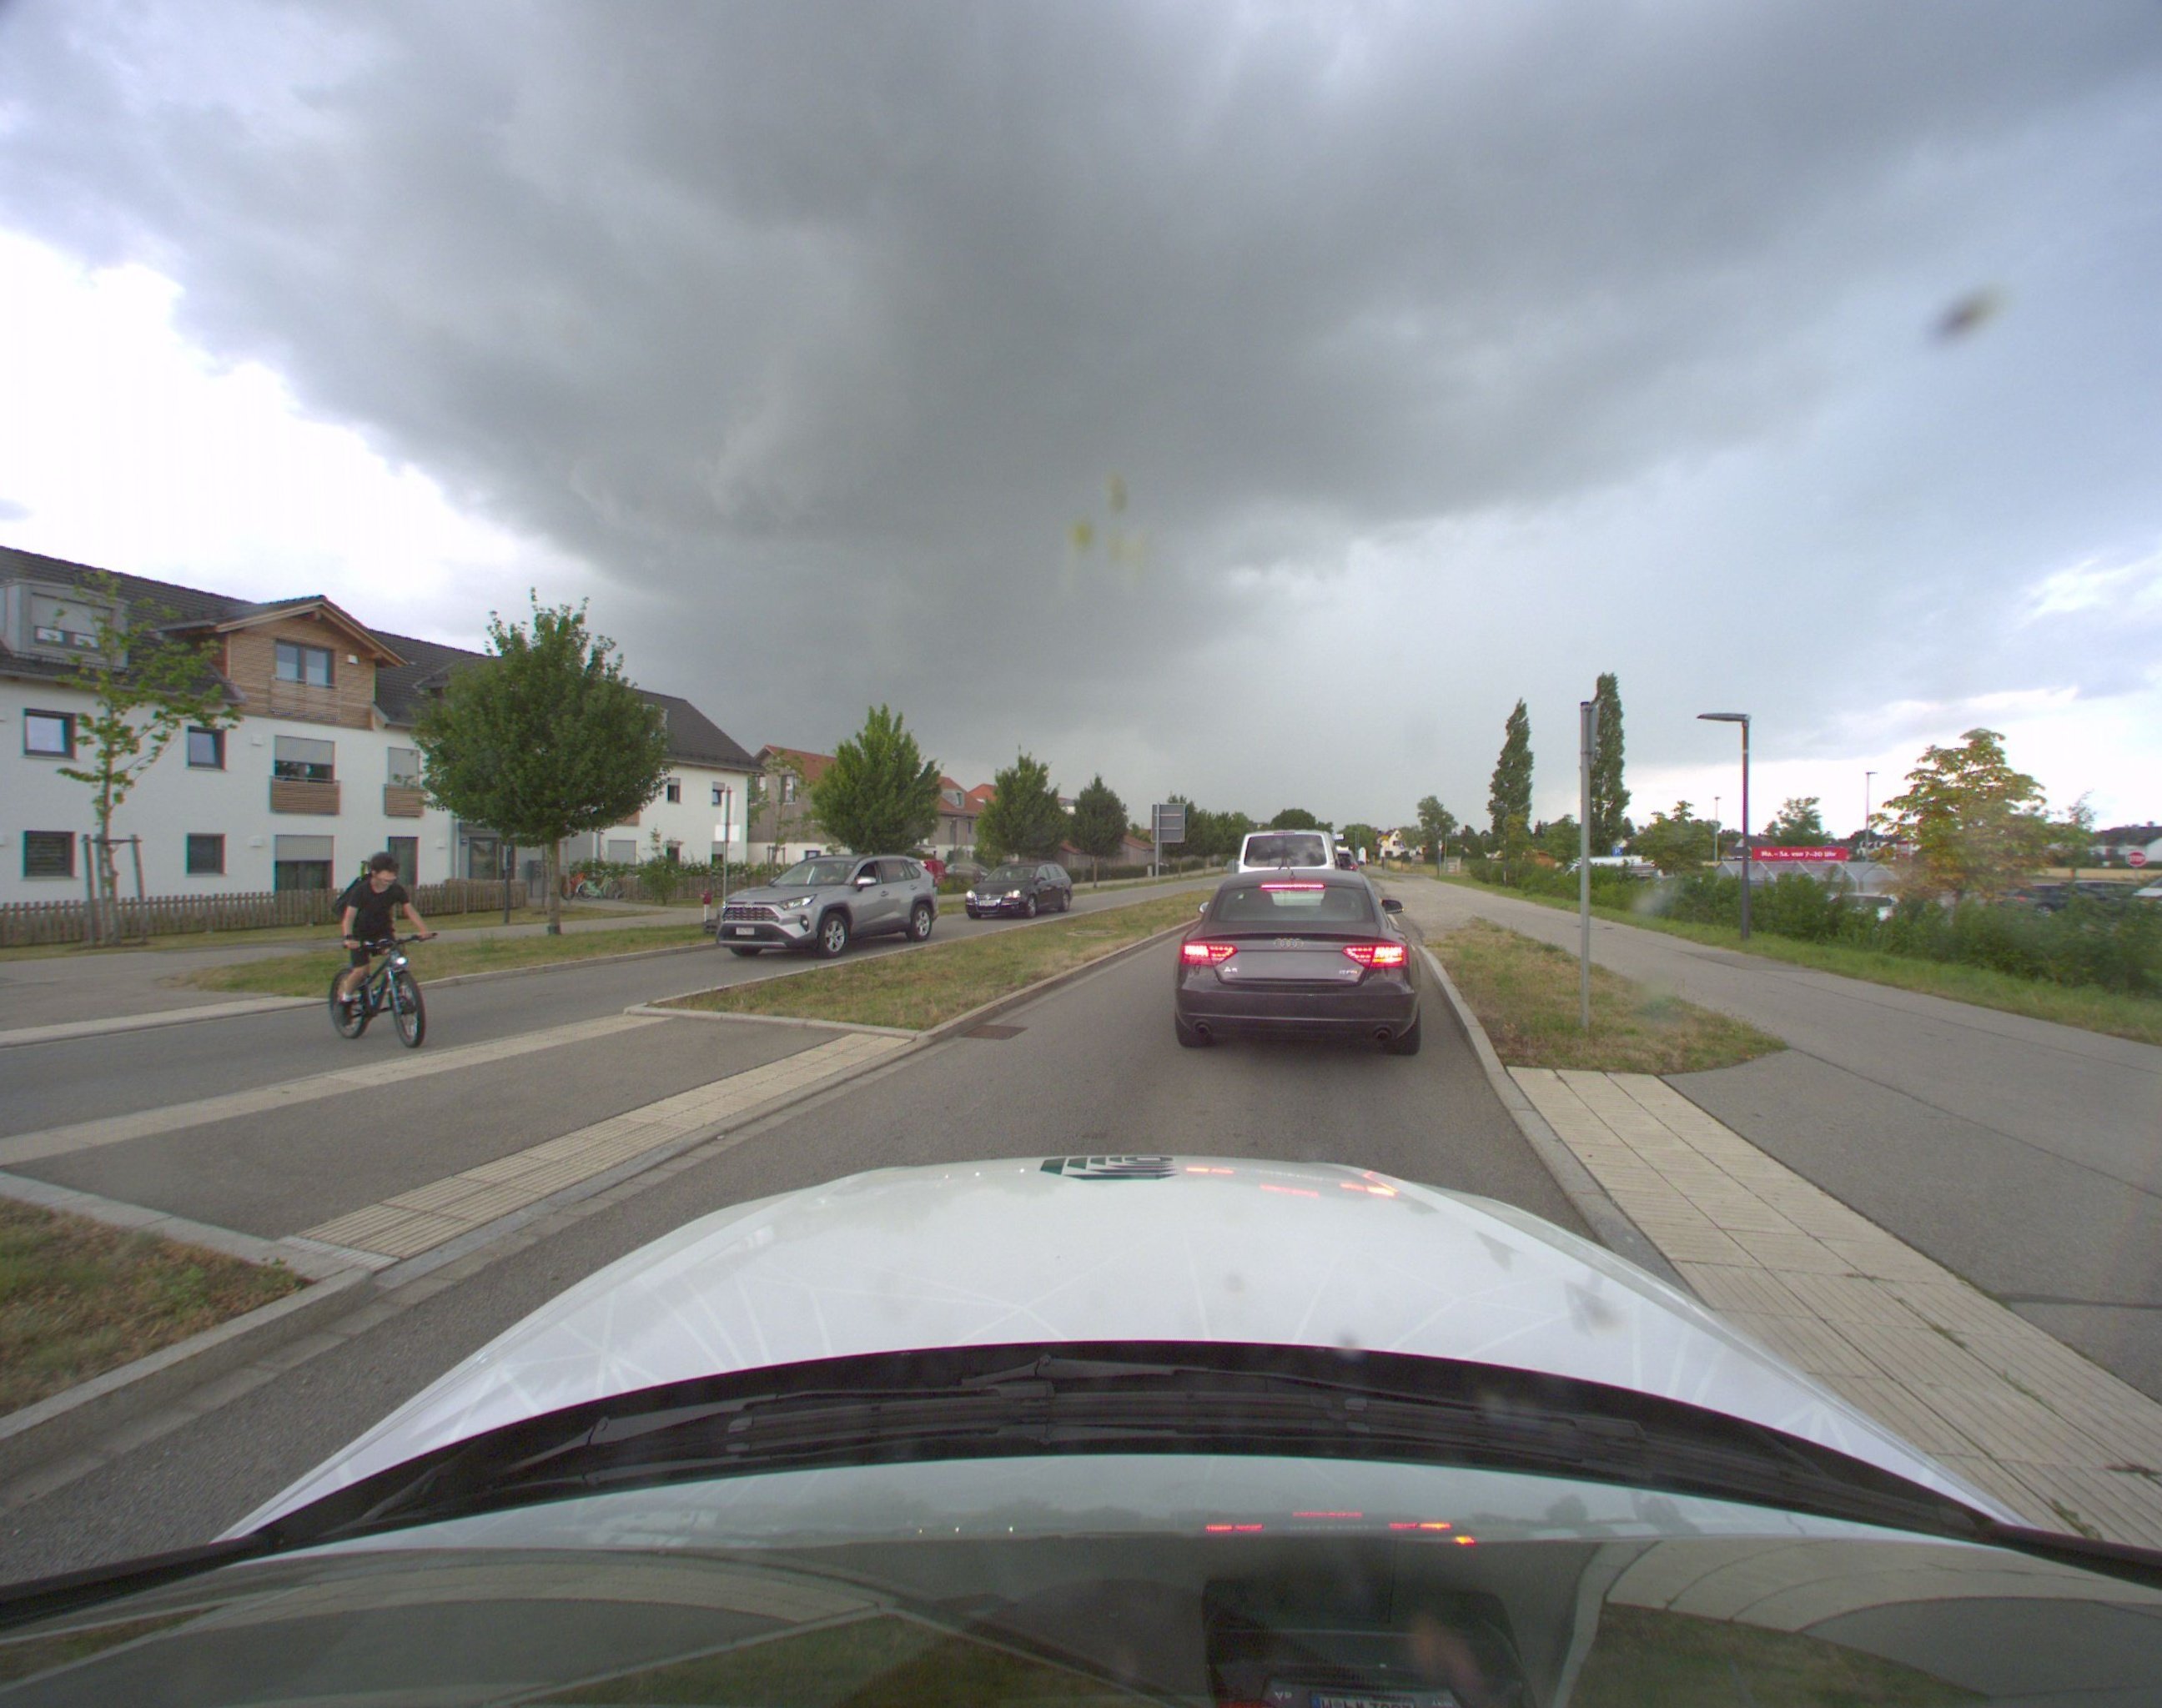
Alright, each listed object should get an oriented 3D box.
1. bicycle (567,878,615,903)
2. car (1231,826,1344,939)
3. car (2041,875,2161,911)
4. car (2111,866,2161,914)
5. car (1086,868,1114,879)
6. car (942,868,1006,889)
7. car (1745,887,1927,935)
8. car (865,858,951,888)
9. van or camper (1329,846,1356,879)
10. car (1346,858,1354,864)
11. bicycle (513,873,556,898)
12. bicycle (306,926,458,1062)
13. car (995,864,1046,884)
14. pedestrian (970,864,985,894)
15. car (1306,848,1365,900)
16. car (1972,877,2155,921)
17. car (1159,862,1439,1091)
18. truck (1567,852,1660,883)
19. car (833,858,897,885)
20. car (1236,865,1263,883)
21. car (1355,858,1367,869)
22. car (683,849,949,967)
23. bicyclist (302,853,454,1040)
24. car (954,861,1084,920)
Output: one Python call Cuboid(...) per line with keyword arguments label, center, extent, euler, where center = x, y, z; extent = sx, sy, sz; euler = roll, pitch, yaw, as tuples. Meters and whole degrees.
Cuboid(label="bicycle", center=(-17.758, 1.310, 29.531), extent=(0.364, 0.843, 1.554), euler=(3, 1, 20))
Cuboid(label="car", center=(4.185, 0.519, 16.287), extent=(1.853, 1.934, 4.017), euler=(-3, -1, 16))
Cuboid(label="car", center=(48.370, 1.800, 38.030), extent=(4.276, 1.578, 1.776), euler=(0, 0, 20))
Cuboid(label="car", center=(48.737, 1.545, 35.325), extent=(5.080, 2.013, 2.005), euler=(0, 1, 7))
Cuboid(label="car", center=(1.833, 1.891, 78.763), extent=(2.455, 1.028, 1.189), euler=(0, 0, 12))
Cuboid(label="car", center=(-7.266, 1.643, 55.487), extent=(3.885, 1.315, 1.850), euler=(1, 0, 16))
Cuboid(label="car", center=(26.101, 1.932, 28.334), extent=(4.199, 1.440, 2.009), euler=(0, 0, 18))
Cuboid(label="car", center=(-10.055, 1.072, 47.331), extent=(4.491, 1.680, 2.010), euler=(0, 0, 21))
Cuboid(label="van or camper", center=(27.643, 0.915, 86.127), extent=(2.604, 3.324, 6.852), euler=(1, -1, 18))
Cuboid(label="car", center=(57.150, 1.539, 172.805), extent=(1.600, 1.272, 3.478), euler=(1, 0, 19))
Cuboid(label="bicycle", center=(-20.435, 1.165, 30.455), extent=(0.364, 0.843, 1.344), euler=(3, 1, 20))
Cuboid(label="bicycle", center=(-5.917, 1.123, 6.866), extent=(1.691, 0.946, 0.500), euler=(-1, -1, 33))
Cuboid(label="car", center=(-4.803, 1.568, 65.038), extent=(3.702, 1.482, 1.693), euler=(1, 0, 15))
Cuboid(label="pedestrian", center=(-5.507, 1.333, 43.385), extent=(0.577, 1.559, 0.663), euler=(0, 0, 16))
Cuboid(label="car", center=(8.648, 0.622, 27.634), extent=(1.762, 1.618, 4.018), euler=(0, 0, 18))
Cuboid(label="car", center=(40.840, 1.833, 34.007), extent=(4.520, 1.664, 2.009), euler=(0, 0, 18))
Cuboid(label="car", center=(1.974, 0.791, 7.344), extent=(1.770, 1.391, 4.150), euler=(0, 0, 16))
Cuboid(label="truck", center=(35.009, 0.883, 53.690), extent=(4.762, 1.872, 2.007), euler=(1, -1, 14))
Cuboid(label="car", center=(-14.978, 1.193, 56.715), extent=(1.976, 1.772, 4.490), euler=(0, -1, 23))
Cuboid(label="car", center=(14.652, 1.700, 70.719), extent=(1.716, 1.410, 4.226), euler=(0, 0, 19))
Cuboid(label="car", center=(40.276, 1.373, 117.311), extent=(1.600, 1.631, 3.633), euler=(1, 0, 19))
Cuboid(label="car", center=(-4.317, 0.811, 14.220), extent=(1.977, 1.704, 4.657), euler=(-2, -1, 19))
Cuboid(label="bicyclist", center=(-5.912, 0.721, 6.857), extent=(0.858, 1.446, 0.729), euler=(-1, 0, 32))
Cuboid(label="car", center=(-1.553, 0.915, 22.285), extent=(1.738, 1.416, 4.479), euler=(0, 0, 22))
